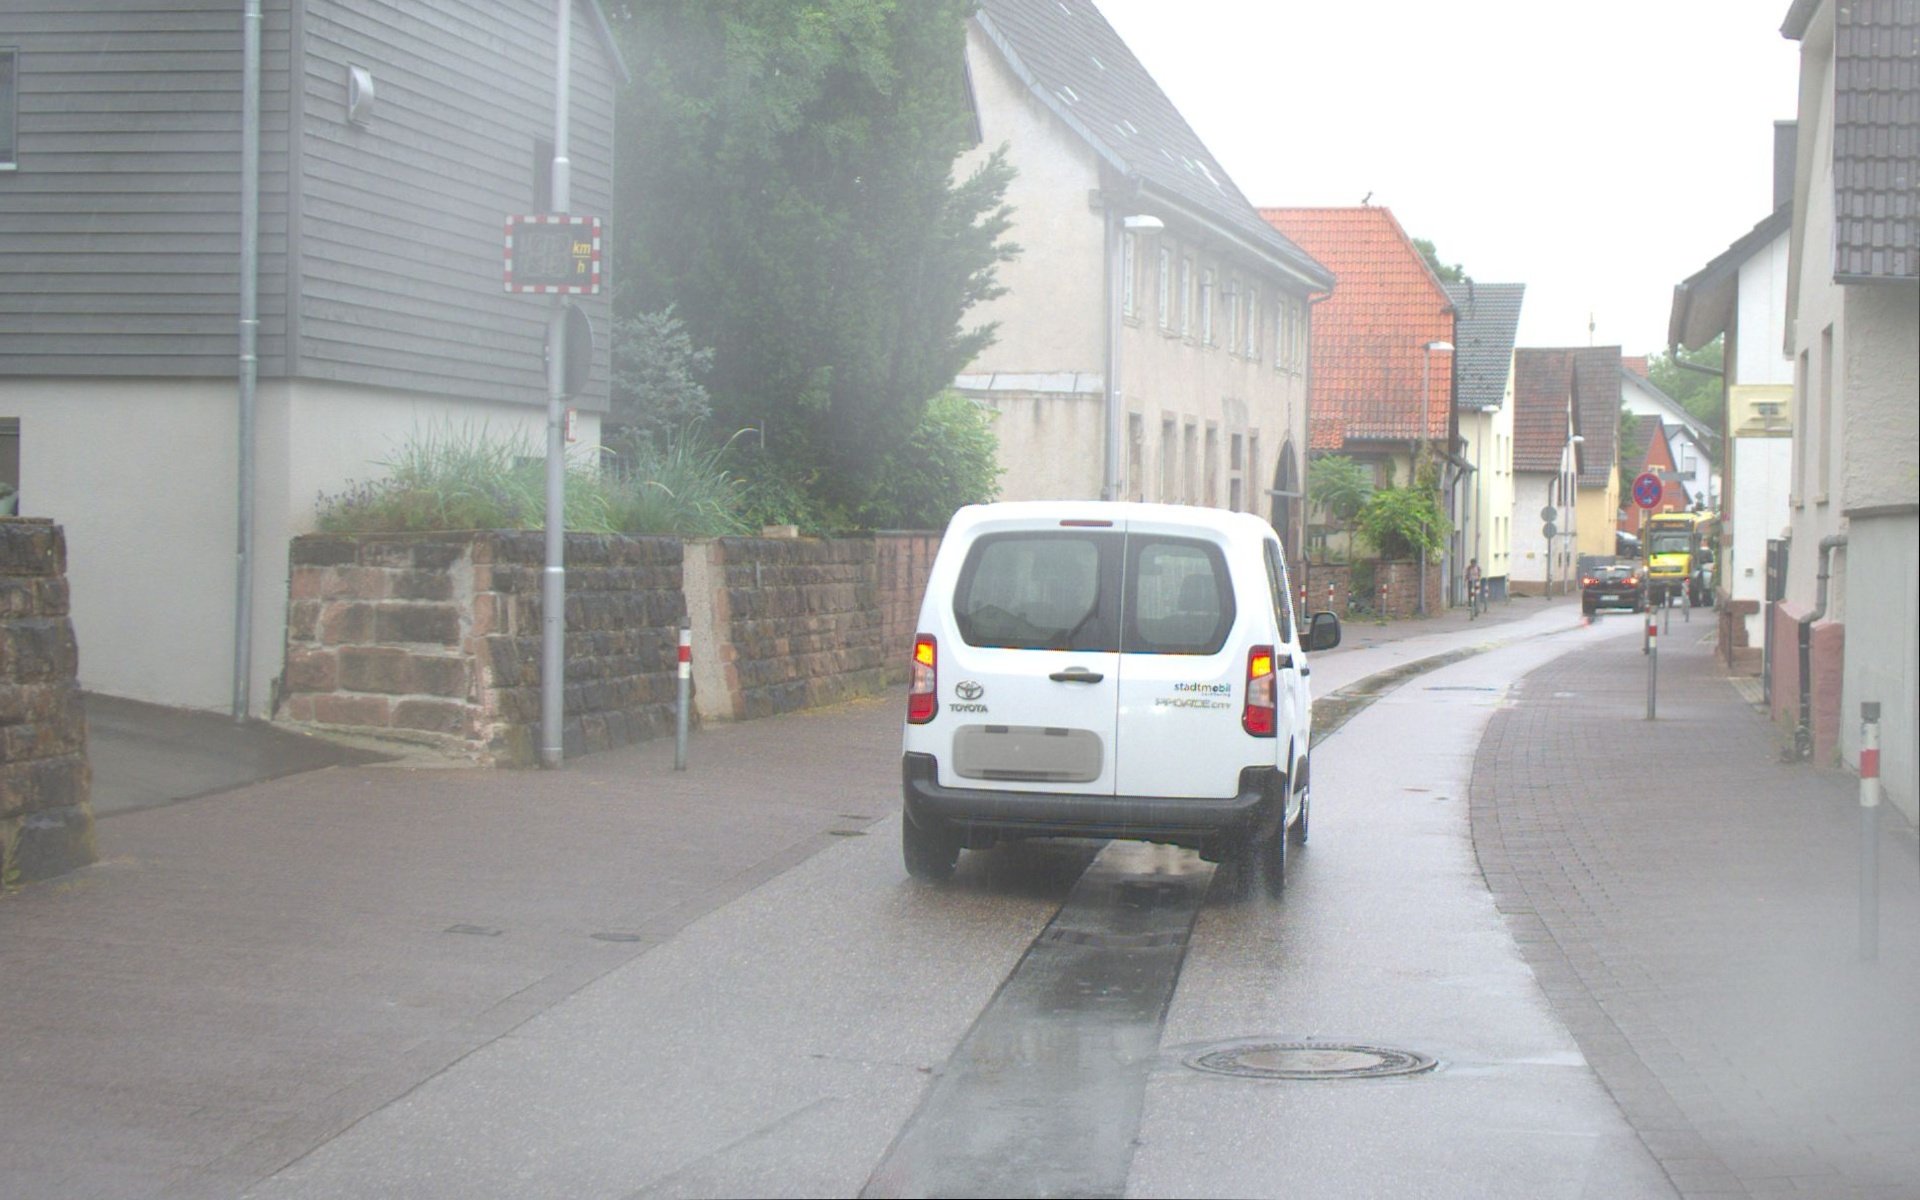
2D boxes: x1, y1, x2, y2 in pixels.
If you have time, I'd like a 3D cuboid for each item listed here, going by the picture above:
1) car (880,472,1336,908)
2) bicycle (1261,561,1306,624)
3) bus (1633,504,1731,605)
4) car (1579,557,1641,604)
[{"bbox_3d":[0.865,0.388,17.168,1.795,1.812,4.100,3,0,8],"label":"car"},{"bbox_3d":[6.221,-0.145,66.002,0.483,1.176,1.834,3,1,16],"label":"bicycle"},{"bbox_3d":[24.679,-1.506,117.313,2.795,3.169,8.172,4,1,14],"label":"bus"},{"bbox_3d":[19.989,-0.590,105.640,1.563,1.367,3.582,3,1,15],"label":"car"}]
